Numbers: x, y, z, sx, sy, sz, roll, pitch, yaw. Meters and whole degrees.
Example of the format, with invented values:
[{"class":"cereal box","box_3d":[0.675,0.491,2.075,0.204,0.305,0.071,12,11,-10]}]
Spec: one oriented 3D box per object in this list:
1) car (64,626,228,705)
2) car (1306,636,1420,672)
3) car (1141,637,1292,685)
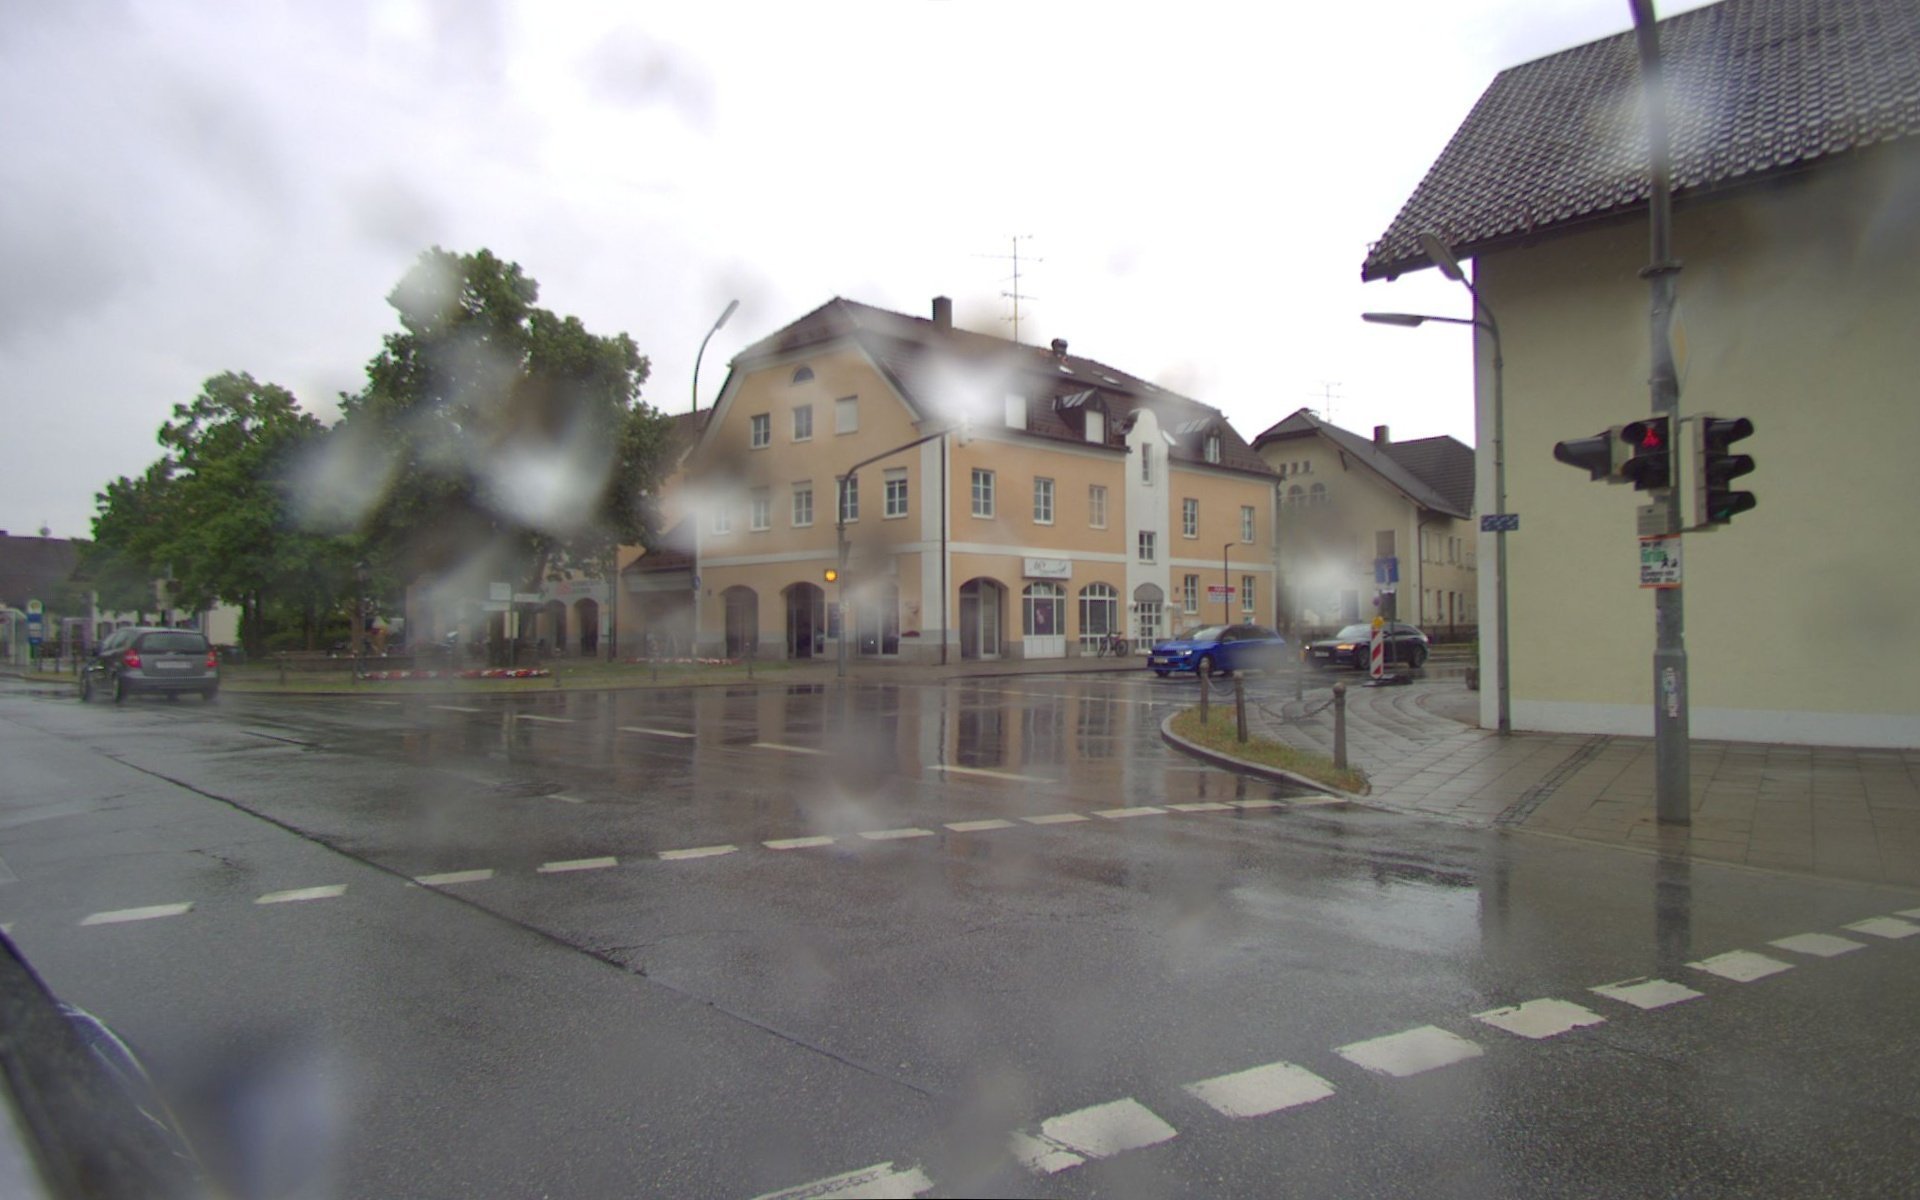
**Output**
[{"class":"car","box_3d":[-17.613,1.361,21.859,3.893,1.545,1.897,-1,-3,38]},{"class":"car","box_3d":[12.805,1.676,32.079,4.006,1.025,1.427,1,-2,-35]},{"class":"car","box_3d":[7.207,1.658,28.284,4.288,1.194,1.693,1,-2,-35]}]
